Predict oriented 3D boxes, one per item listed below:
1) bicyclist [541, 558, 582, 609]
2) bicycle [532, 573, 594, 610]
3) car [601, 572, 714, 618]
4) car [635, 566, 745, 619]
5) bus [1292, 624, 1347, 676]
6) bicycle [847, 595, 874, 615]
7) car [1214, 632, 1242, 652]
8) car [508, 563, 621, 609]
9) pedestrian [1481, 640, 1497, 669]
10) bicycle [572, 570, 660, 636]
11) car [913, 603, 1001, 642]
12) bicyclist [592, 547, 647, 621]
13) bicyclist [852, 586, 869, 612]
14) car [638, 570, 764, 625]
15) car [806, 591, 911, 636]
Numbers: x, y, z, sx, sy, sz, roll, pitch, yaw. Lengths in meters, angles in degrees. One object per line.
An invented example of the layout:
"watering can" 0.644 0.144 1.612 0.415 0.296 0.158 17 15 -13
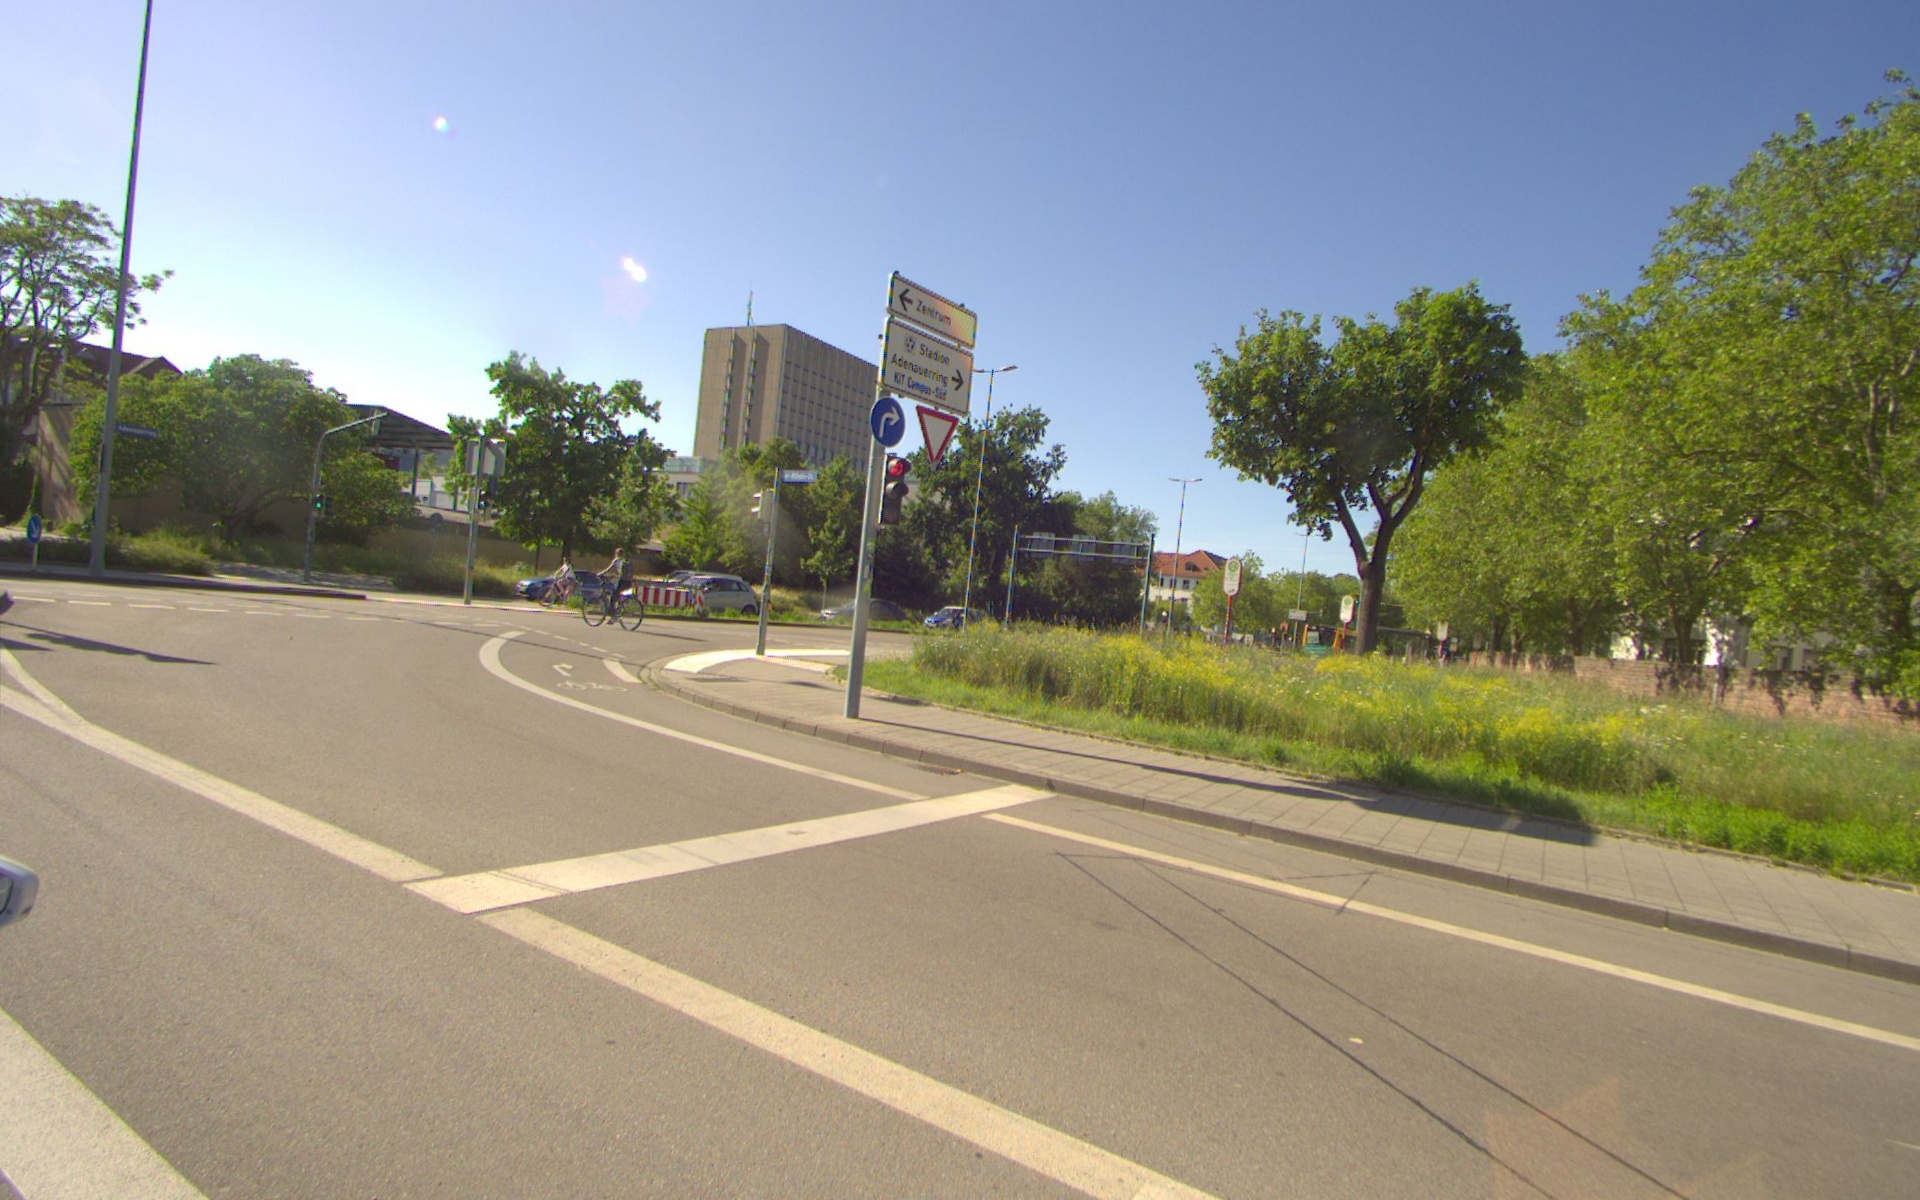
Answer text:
"bicyclist" -13.962 -0.570 35.255 0.734 1.707 0.974 7 2 34
"bicycle" -13.937 -0.288 35.346 0.736 1.180 1.864 7 2 33
"car" -12.498 -0.200 41.724 1.971 1.487 3.982 6 0 40
"car" -12.515 -0.329 46.958 1.909 1.976 4.742 5 -1 35
"bus" 27.359 3.888 76.392 2.935 3.310 6.255 7 -2 26
"bicycle" -6.630 0.339 67.201 0.632 1.180 1.952 9 3 30
"car" 28.584 4.480 107.297 1.905 1.821 4.356 5 -1 27
"car" -16.175 -0.552 41.329 1.679 1.459 3.988 5 -1 35
"pedestrian" 31.043 3.184 58.997 0.642 1.630 0.558 7 -1 30
"bicycle" -7.440 0.051 21.712 1.838 1.180 0.641 8 2 29
"car" -0.084 1.182 50.740 1.953 1.573 4.709 5 -1 35
"bicyclist" -7.329 -0.339 21.654 0.763 1.463 0.642 8 3 29
"bicyclist" -6.628 -0.082 67.082 0.620 1.617 0.830 9 3 29
"car" -9.535 -0.055 37.342 1.762 1.644 4.303 5 -1 35
"car" -4.428 0.634 44.648 1.953 1.573 4.709 5 -1 35
